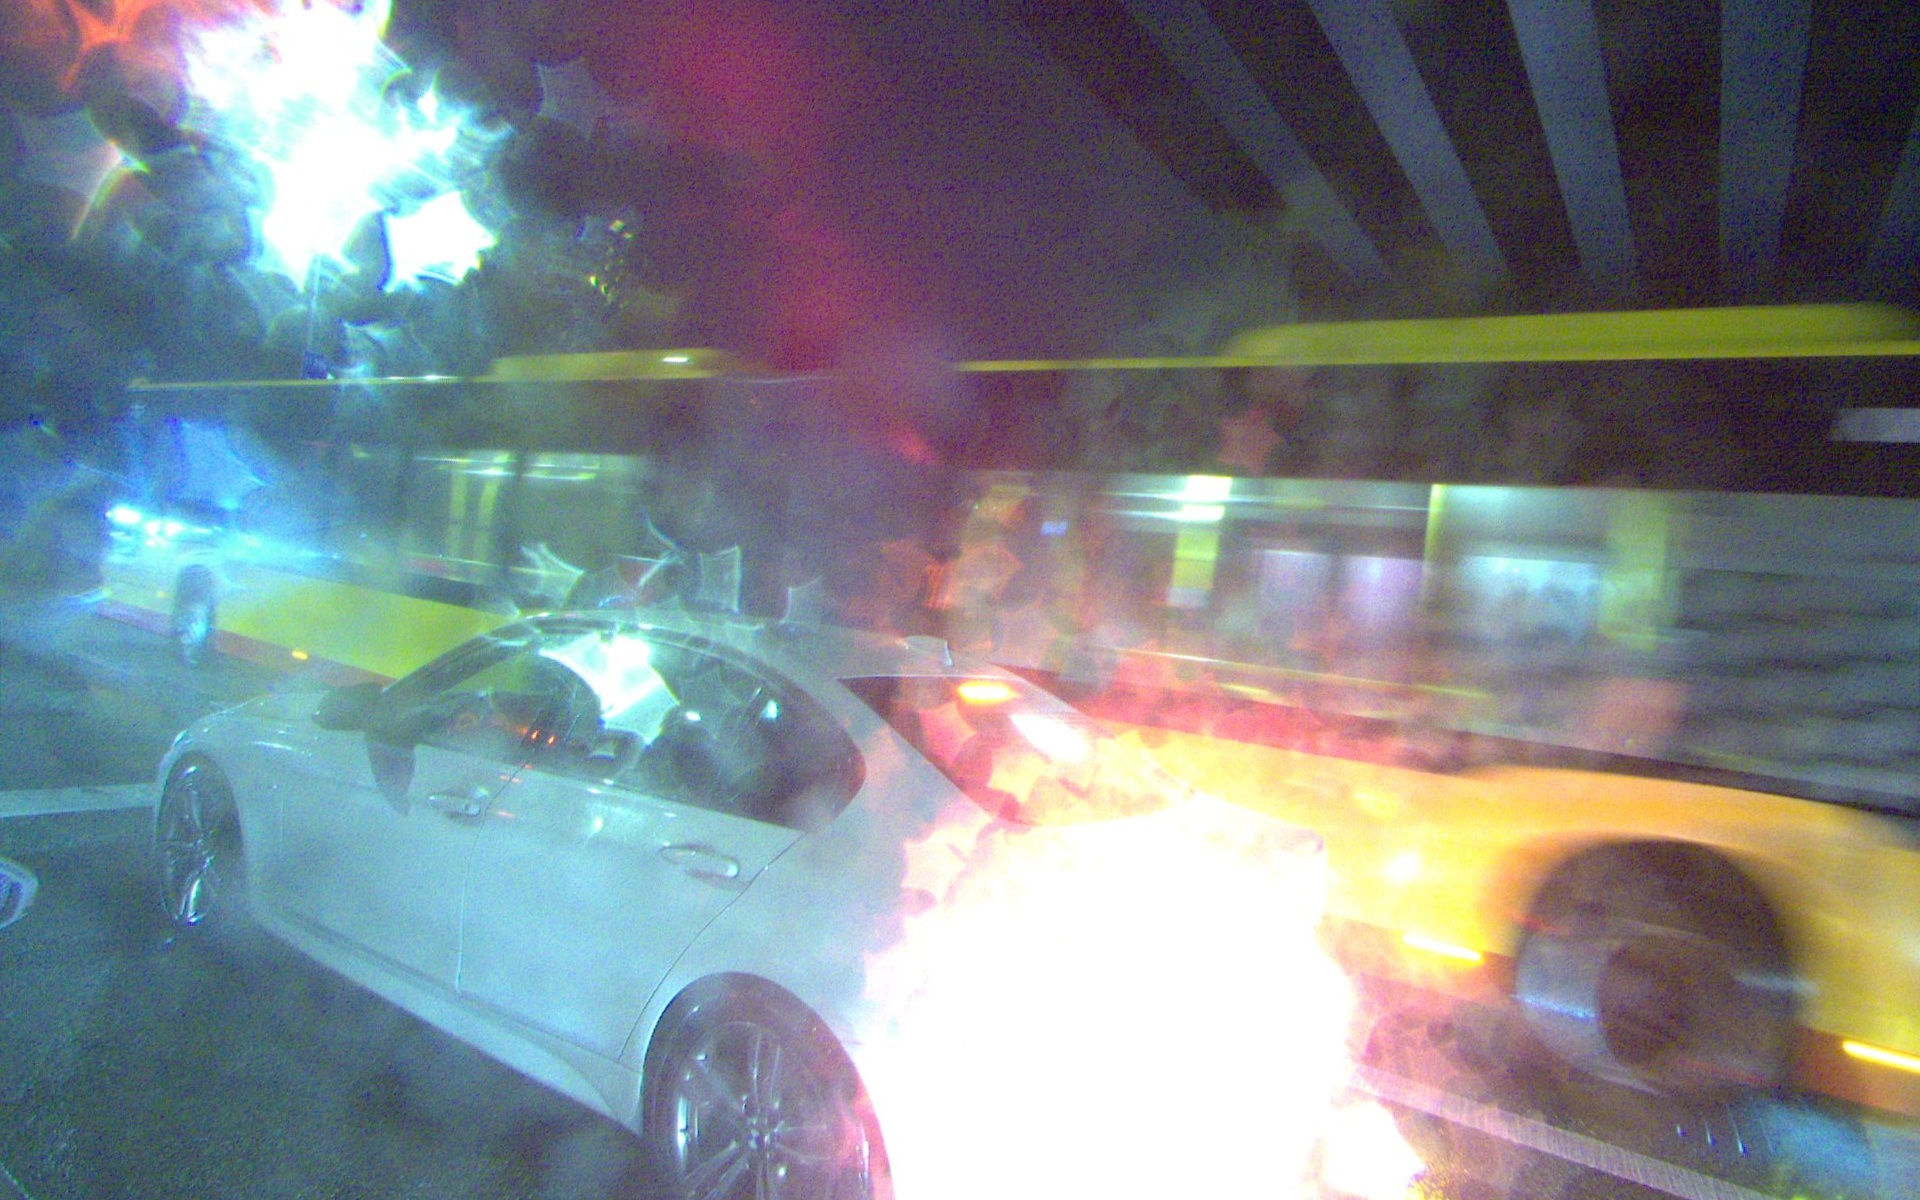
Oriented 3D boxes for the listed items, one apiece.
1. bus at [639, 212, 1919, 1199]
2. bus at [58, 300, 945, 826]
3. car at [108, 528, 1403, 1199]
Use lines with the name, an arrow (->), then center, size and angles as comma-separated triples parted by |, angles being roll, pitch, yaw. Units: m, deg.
bus -> 3.126, 0.400, 4.685 | 9.596, 3.160, 2.775 | 7, -1, 30
bus -> -5.061, -0.571, 9.756 | 9.602, 3.160, 2.773 | 7, -1, 33
car -> -0.957, 0.710, 3.497 | 4.277, 1.420, 1.720 | 6, -2, 32
